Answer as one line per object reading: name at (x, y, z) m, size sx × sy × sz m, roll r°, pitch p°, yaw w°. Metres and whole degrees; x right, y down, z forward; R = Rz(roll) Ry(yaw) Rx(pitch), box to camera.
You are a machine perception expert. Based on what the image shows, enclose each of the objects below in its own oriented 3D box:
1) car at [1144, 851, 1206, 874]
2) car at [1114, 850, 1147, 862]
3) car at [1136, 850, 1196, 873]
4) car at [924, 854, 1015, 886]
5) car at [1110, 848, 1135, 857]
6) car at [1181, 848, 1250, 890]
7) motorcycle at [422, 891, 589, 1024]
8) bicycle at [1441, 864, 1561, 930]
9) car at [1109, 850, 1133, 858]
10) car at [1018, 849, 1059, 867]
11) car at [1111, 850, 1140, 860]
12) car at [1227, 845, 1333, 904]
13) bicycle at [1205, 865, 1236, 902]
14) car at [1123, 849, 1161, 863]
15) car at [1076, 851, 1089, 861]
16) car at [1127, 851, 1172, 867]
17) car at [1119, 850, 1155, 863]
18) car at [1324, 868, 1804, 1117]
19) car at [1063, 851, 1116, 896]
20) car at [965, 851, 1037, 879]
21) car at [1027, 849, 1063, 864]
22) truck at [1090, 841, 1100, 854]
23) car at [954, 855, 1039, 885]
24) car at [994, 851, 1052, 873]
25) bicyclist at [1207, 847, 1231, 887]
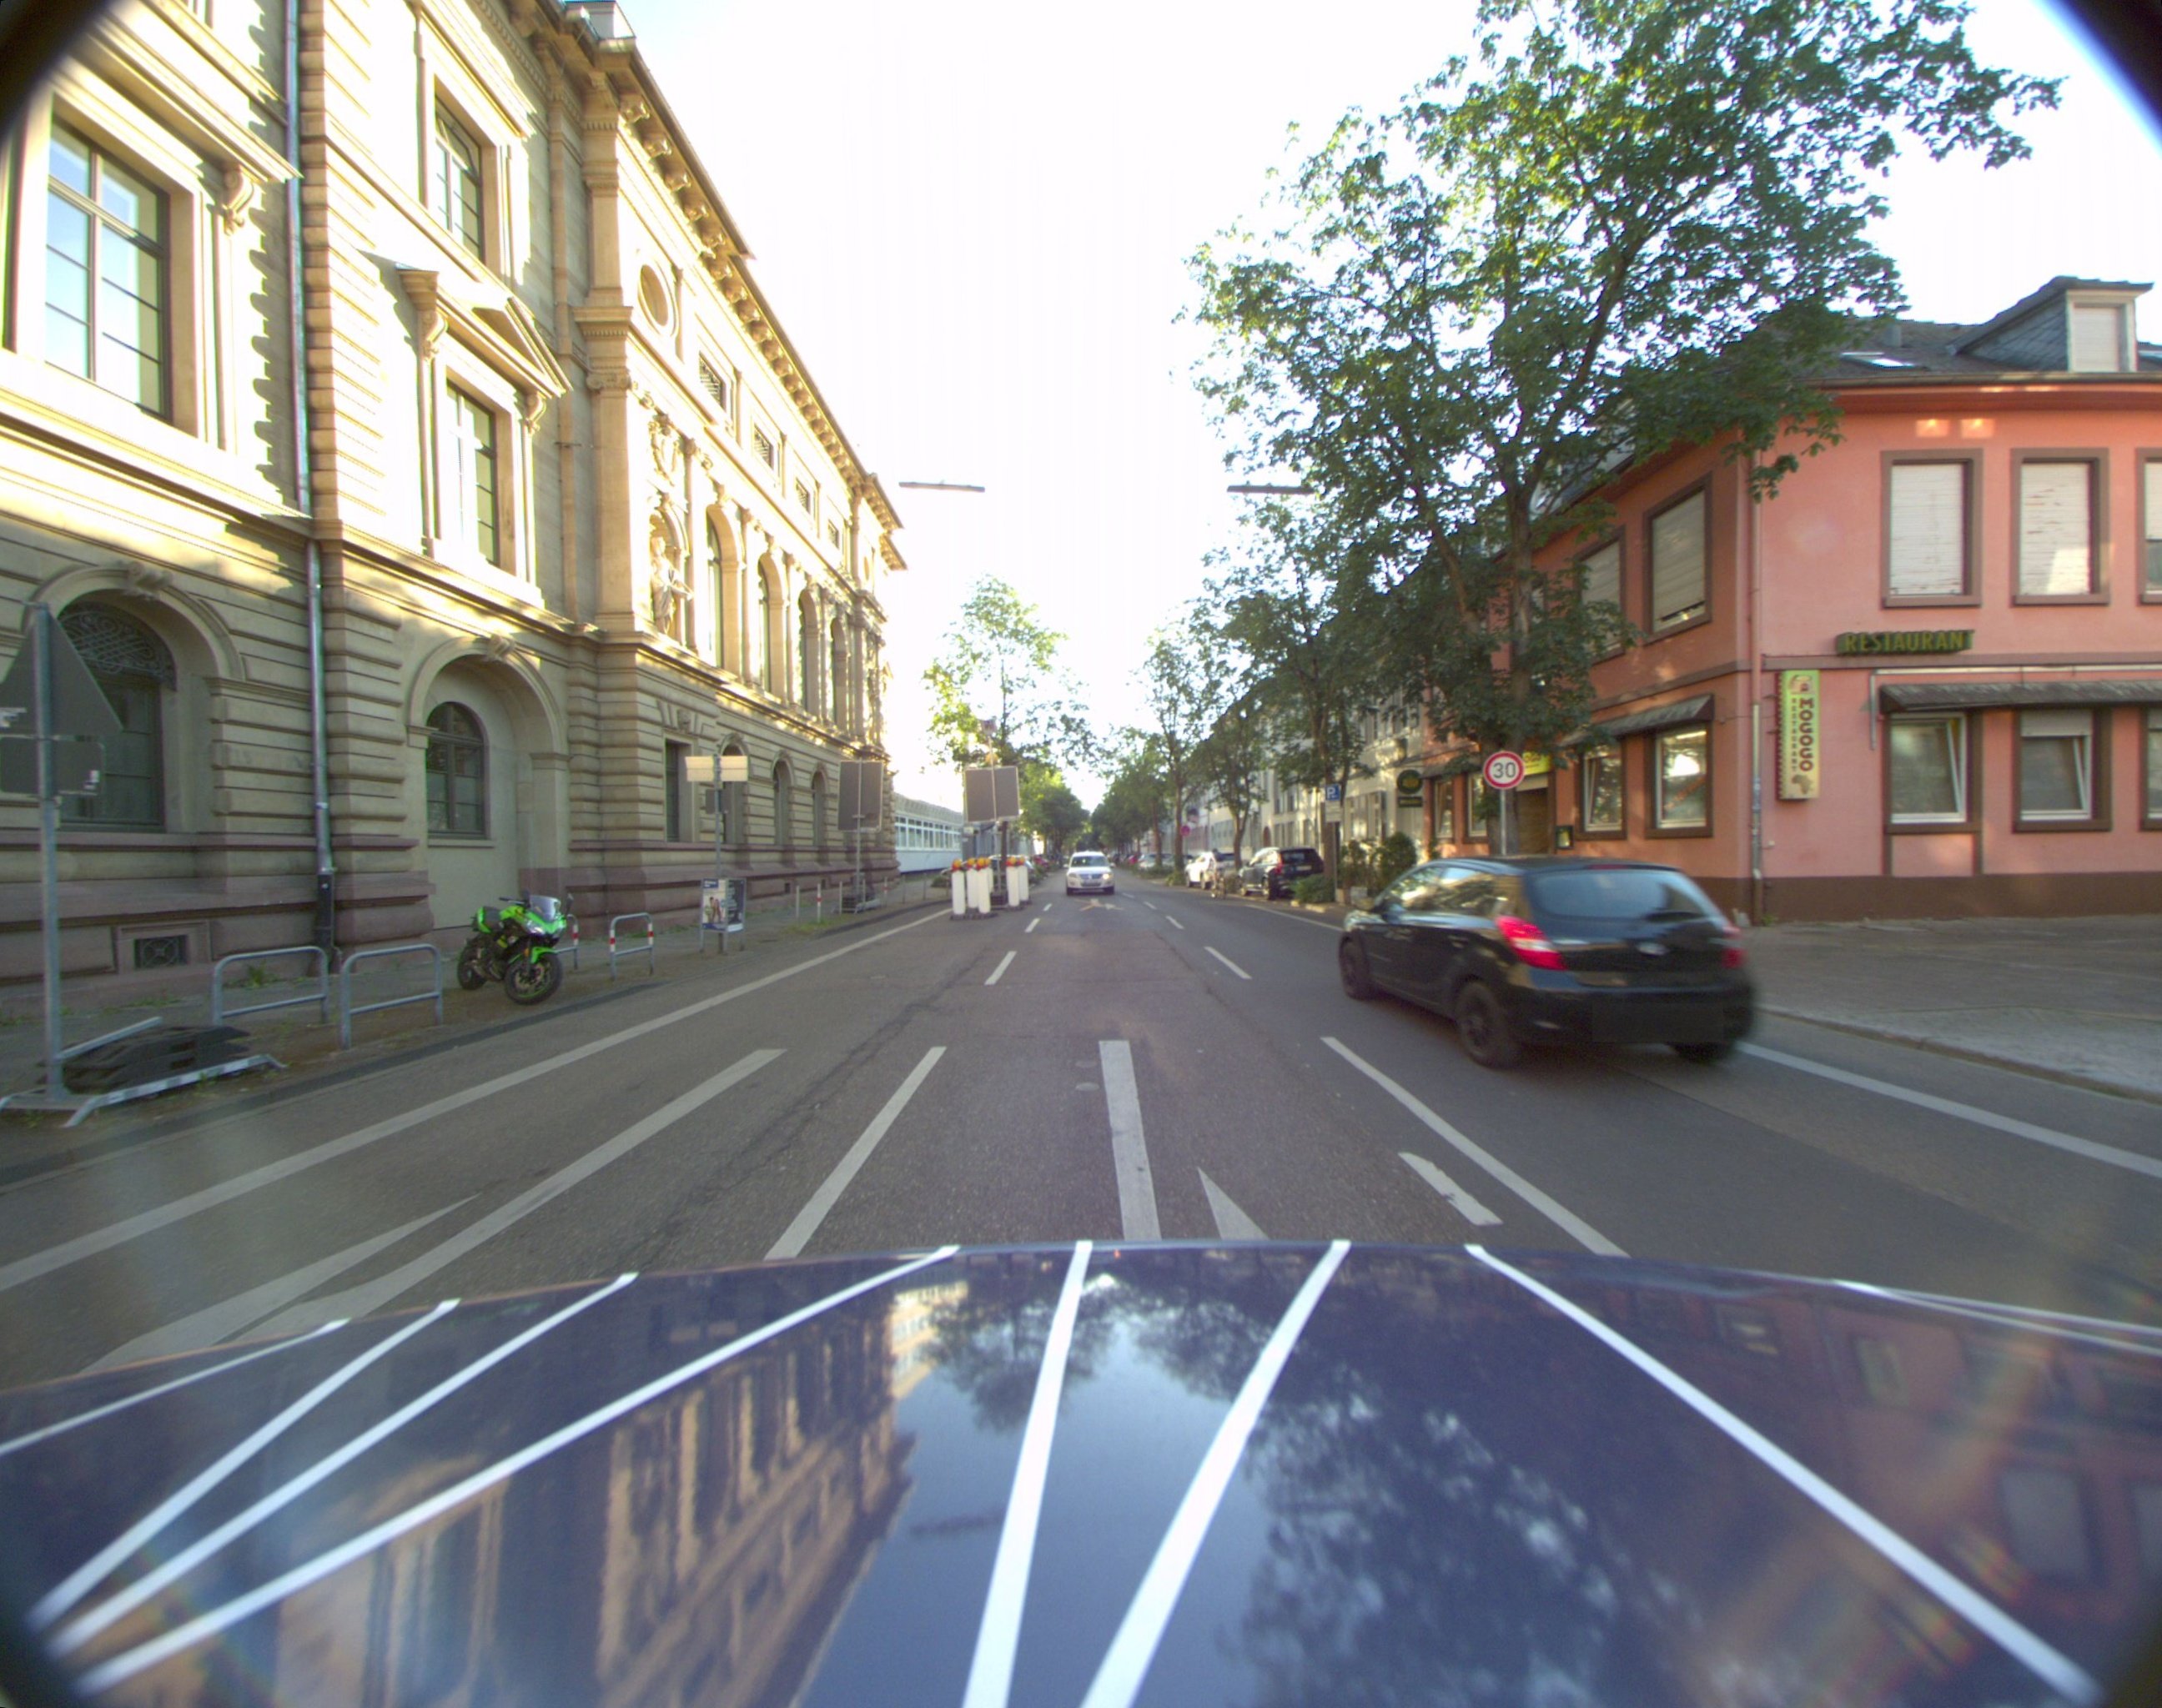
car at (6.608, 0.609, 53.934) m, size 4.228 × 1.536 × 1.801 m, roll -1°, pitch 1°, yaw 3°
car at (6.795, 0.266, 104.533) m, size 4.230 × 1.468 × 1.853 m, roll -1°, pitch 1°, yaw -2°
car at (6.309, 0.538, 56.669) m, size 4.230 × 1.680 × 1.800 m, roll -1°, pitch 1°, yaw -2°
car at (-5.623, 0.789, 38.727) m, size 4.369 × 1.456 × 1.833 m, roll 1°, pitch 1°, yaw -4°
car at (7.146, -0.257, 130.994) m, size 4.230 × 1.468 × 1.969 m, roll -1°, pitch 1°, yaw -2°
car at (6.129, 0.650, 35.194) m, size 1.833 × 1.658 × 4.654 m, roll -5°, pitch 1°, yaw -6°
motorcycle at (-6.398, 1.075, 8.413) m, size 2.098 × 1.208 × 0.711 m, roll 2°, pitch 1°, yaw 30°
bicycle at (7.520, 0.760, 13.630) m, size 1.872 × 1.098 × 0.610 m, roll -1°, pitch 1°, yaw -6°
car at (7.283, 0.020, 139.483) m, size 4.230 × 1.508 × 1.969 m, roll -1°, pitch 1°, yaw -2°
car at (-4.528, 0.417, 81.658) m, size 4.369 × 1.768 × 1.733 m, roll 1°, pitch 1°, yaw -2°
car at (6.889, 0.123, 117.004) m, size 4.230 × 1.468 × 1.969 m, roll -1°, pitch 1°, yaw -2°
car at (6.849, 0.642, 26.759) m, size 1.833 × 1.749 × 5.045 m, roll -5°, pitch 1°, yaw -6°
bicycle at (4.885, 1.008, 26.683) m, size 0.626 × 1.149 × 2.051 m, roll -1°, pitch 2°, yaw -2°
car at (7.121, 0.217, 89.067) m, size 4.230 × 1.654 × 1.800 m, roll -1°, pitch 1°, yaw -2°
car at (0.205, 0.265, 116.780) m, size 1.951 × 1.546 × 3.999 m, roll -1°, pitch 0°, yaw -1°
car at (6.690, 0.466, 74.851) m, size 4.230 × 1.499 × 1.800 m, roll -1°, pitch 1°, yaw -2°
car at (6.921, 0.250, 93.724) m, size 4.230 × 1.509 × 1.759 m, roll -1°, pitch 1°, yaw -2°
car at (3.533, 0.871, 6.511) m, size 1.662 × 1.463 × 3.854 m, roll 0°, pitch 0°, yaw 0°
car at (0.354, 0.715, 30.521) m, size 1.957 × 1.667 × 4.542 m, roll -1°, pitch 0°, yaw 1°
car at (-4.976, 0.670, 47.816) m, size 4.369 × 1.633 × 2.054 m, roll 1°, pitch 1°, yaw -2°
car at (-4.417, 0.286, 93.296) m, size 4.369 × 1.862 × 1.733 m, roll 0°, pitch 1°, yaw -2°
truck at (4.015, -1.809, 216.655) m, size 2.748 × 3.723 × 7.855 m, roll -1°, pitch 0°, yaw 2°
car at (-4.541, 0.865, 41.350) m, size 4.368 × 1.487 × 1.672 m, roll 1°, pitch 1°, yaw 0°
car at (-4.426, 0.628, 58.740) m, size 4.369 × 1.615 × 1.733 m, roll 1°, pitch 1°, yaw -2°
bicyclist at (4.866, 0.458, 26.759) m, size 0.627 × 1.357 × 0.928 m, roll -1°, pitch 2°, yaw -2°
